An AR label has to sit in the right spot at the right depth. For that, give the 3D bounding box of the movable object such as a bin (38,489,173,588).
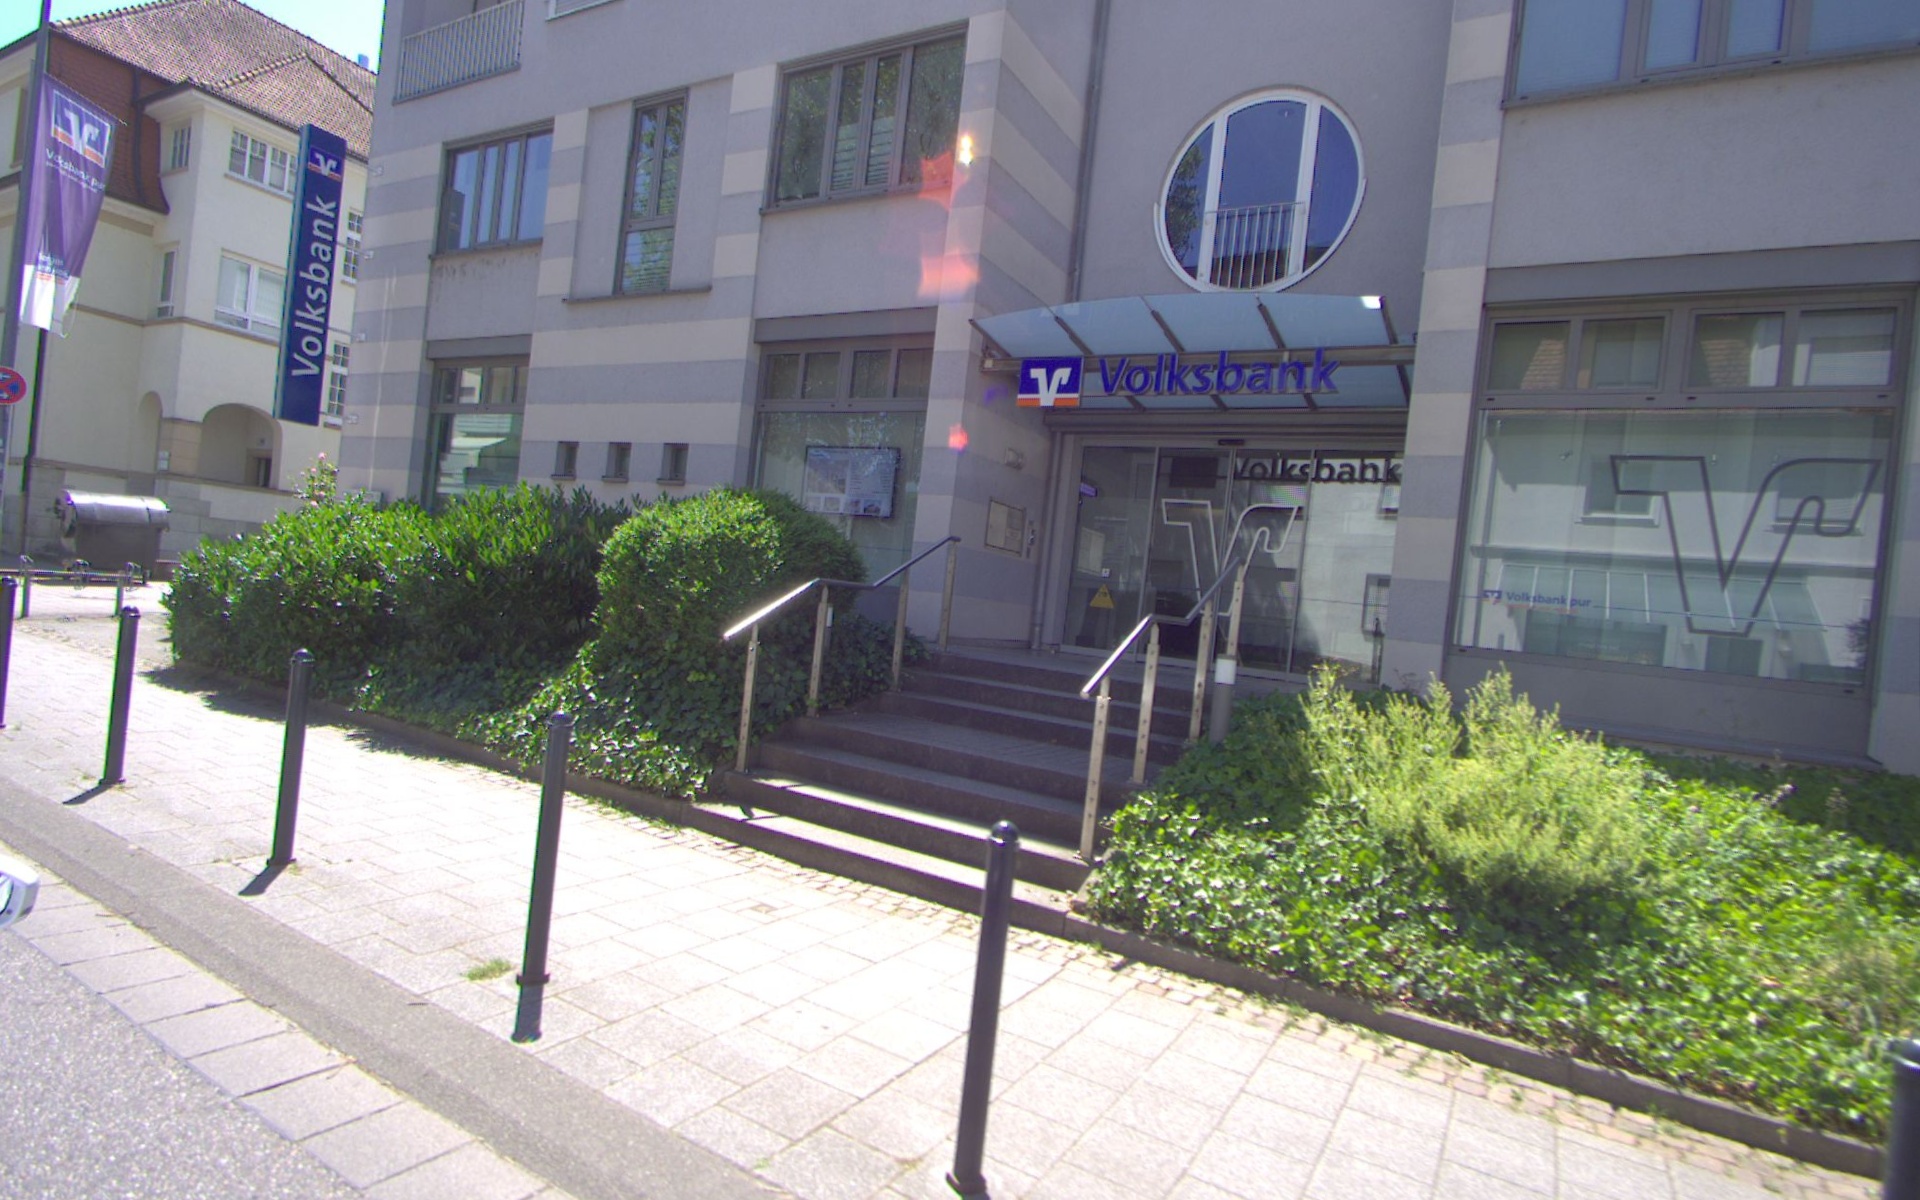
[{"bbox_3d":[-14.287,-1.021,16.831,1.358,1.479,1.367,7,3,32],"label":"movable object such as a bin"}]
